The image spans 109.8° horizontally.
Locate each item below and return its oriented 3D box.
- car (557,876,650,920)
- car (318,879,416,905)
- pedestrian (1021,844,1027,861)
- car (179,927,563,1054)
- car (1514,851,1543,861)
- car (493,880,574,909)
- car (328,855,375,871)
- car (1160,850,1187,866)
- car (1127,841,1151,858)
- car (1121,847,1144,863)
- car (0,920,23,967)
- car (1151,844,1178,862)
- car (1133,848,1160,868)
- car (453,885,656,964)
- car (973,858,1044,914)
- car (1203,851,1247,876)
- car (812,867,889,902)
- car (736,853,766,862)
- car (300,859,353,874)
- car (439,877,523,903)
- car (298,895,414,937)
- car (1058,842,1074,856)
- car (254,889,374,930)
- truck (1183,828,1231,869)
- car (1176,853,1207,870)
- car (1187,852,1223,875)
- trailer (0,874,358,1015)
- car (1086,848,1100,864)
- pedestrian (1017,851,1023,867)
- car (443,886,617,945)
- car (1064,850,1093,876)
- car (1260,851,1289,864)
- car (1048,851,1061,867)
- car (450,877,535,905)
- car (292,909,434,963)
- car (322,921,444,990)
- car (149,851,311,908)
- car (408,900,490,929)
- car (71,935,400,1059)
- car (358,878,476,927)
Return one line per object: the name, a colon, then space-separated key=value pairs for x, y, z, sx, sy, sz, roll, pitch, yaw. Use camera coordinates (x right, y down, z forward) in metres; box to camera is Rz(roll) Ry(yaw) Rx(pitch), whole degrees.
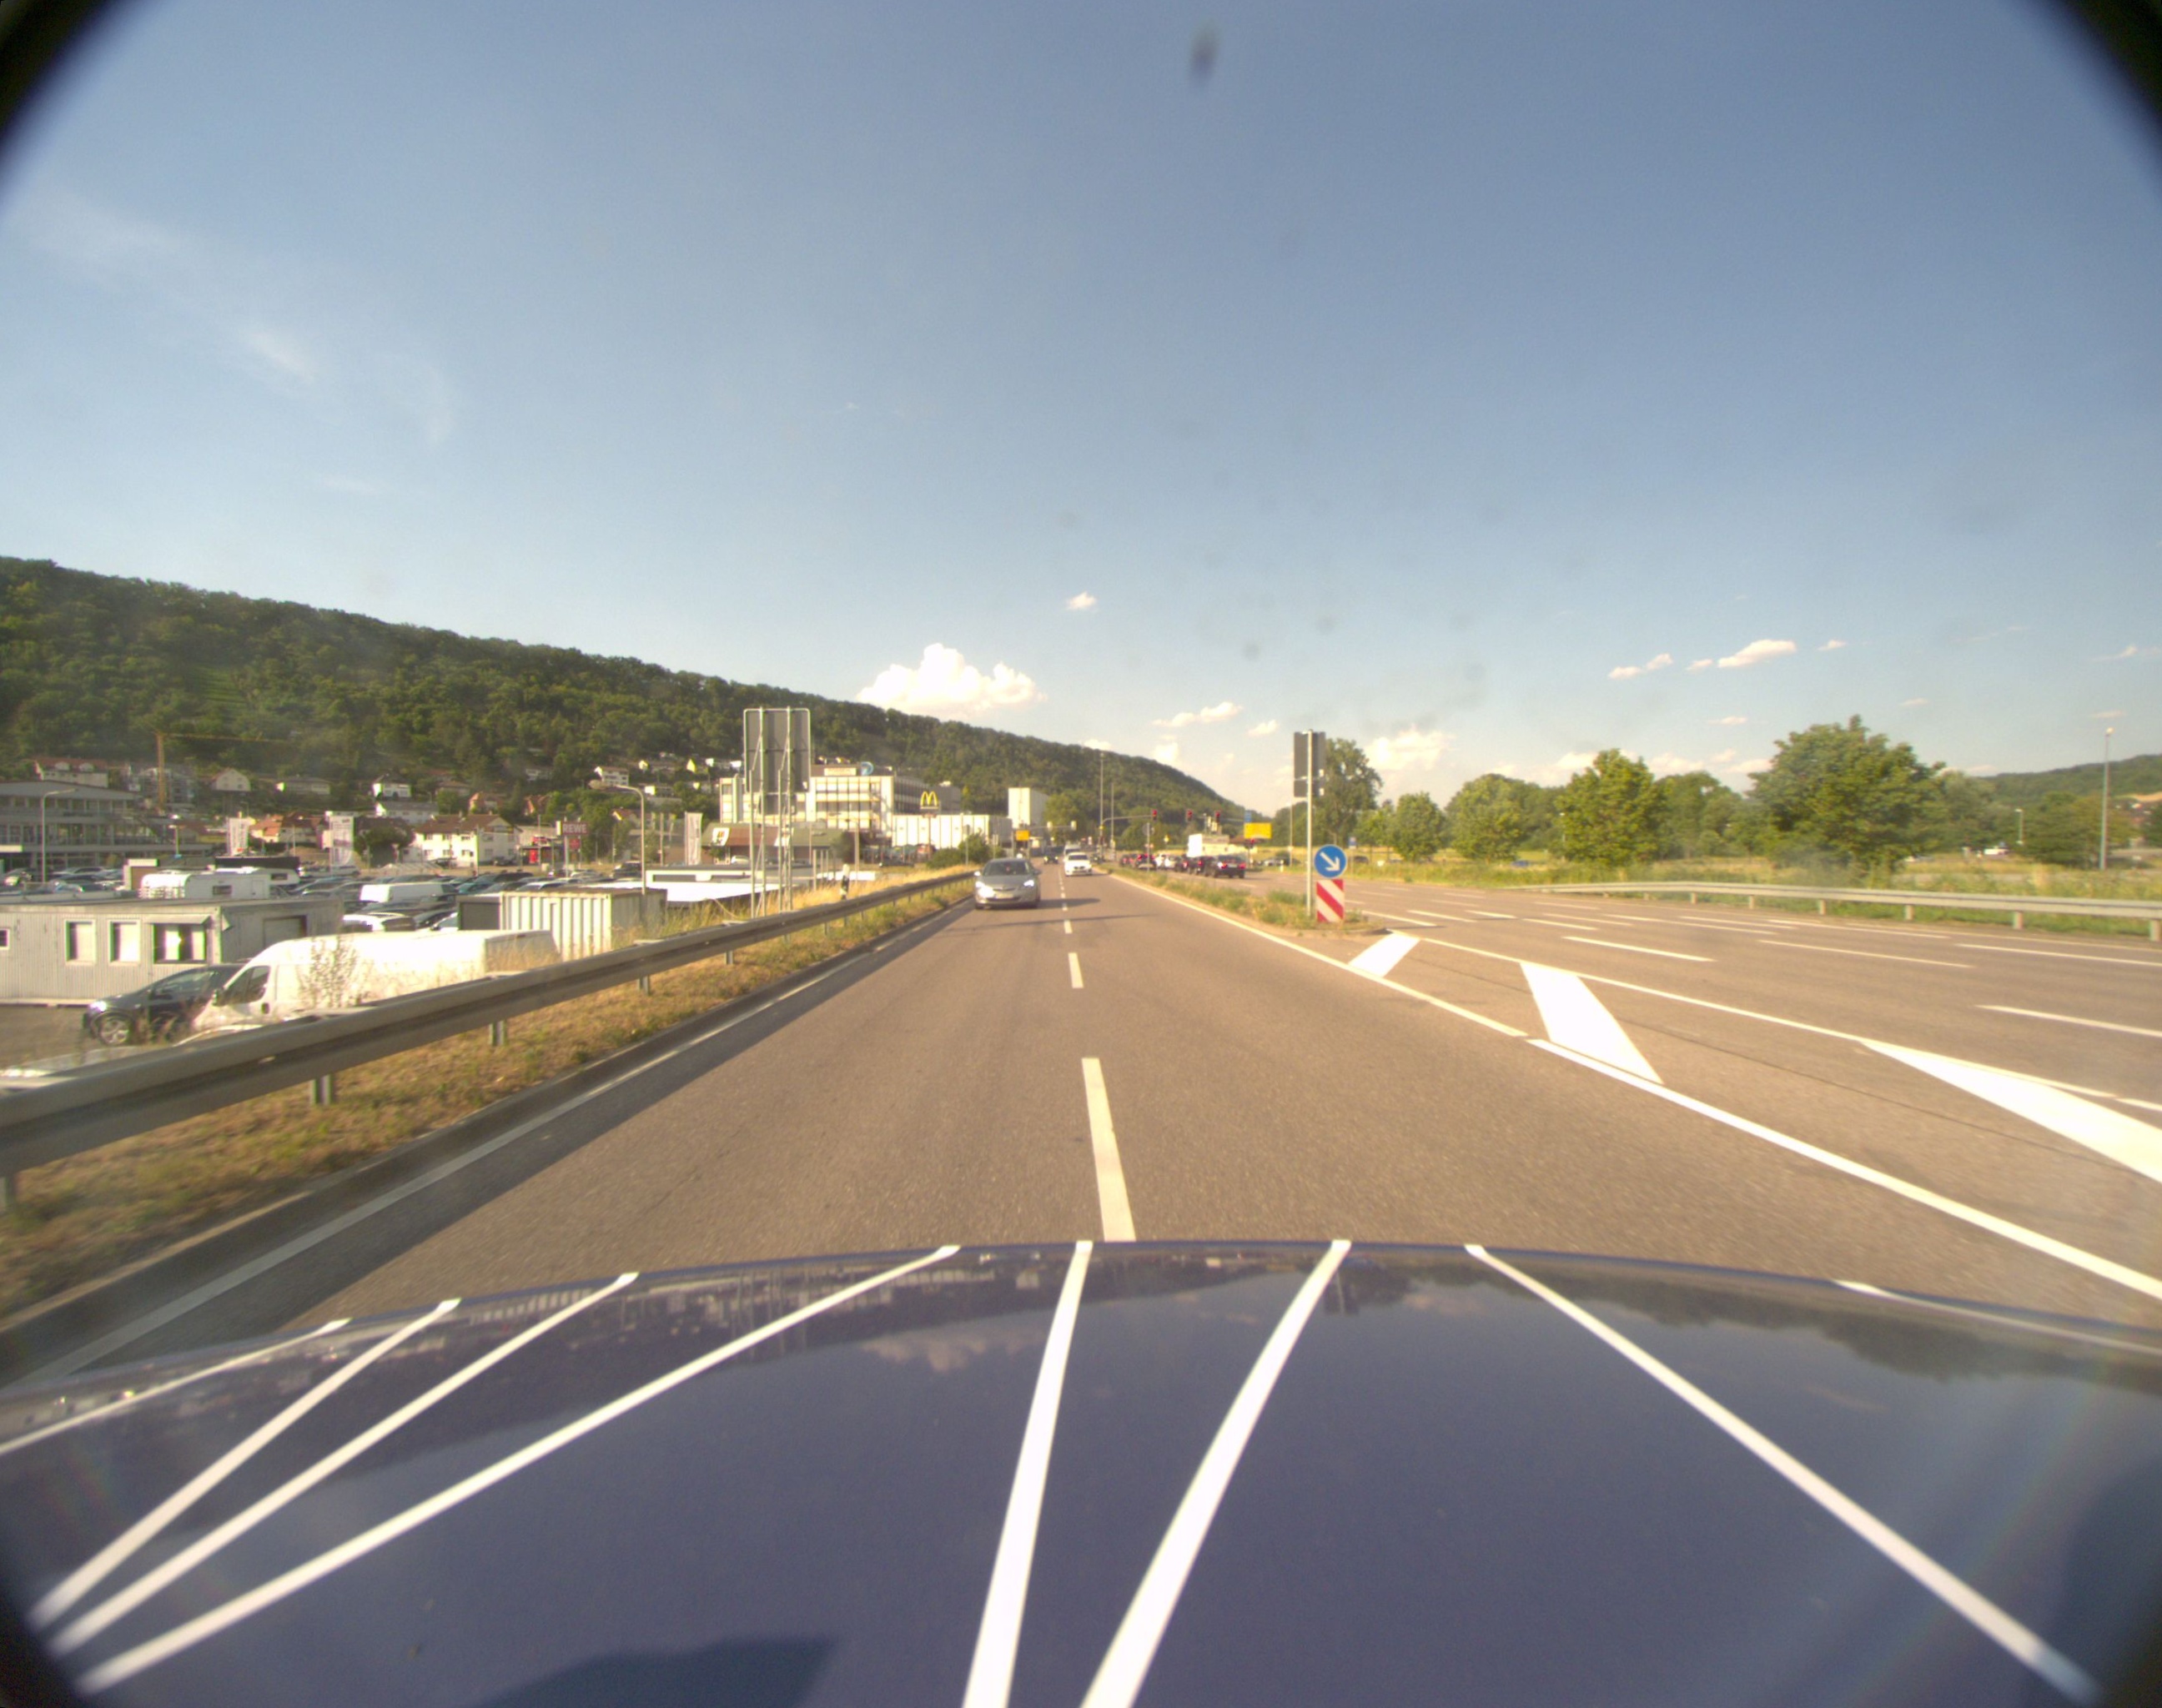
car: x=-26.139 y=2.363 z=41.811 sx=1.759 sy=1.941 sz=4.827 roll=-2 pitch=2 yaw=3
car: x=-48.927 y=2.574 z=52.150 sx=1.756 sy=1.452 sz=4.487 roll=-1 pitch=2 yaw=28
pedestrian: x=-6.125 y=-0.141 z=82.269 sx=0.620 sy=1.872 sz=0.861 roll=0 pitch=2 yaw=-2
car: x=-14.135 y=2.686 z=15.370 sx=5.895 sy=2.002 sz=2.000 roll=-2 pitch=2 yaw=2
car: x=63.078 y=0.280 z=107.175 sx=3.422 sy=1.325 sz=1.379 roll=-2 pitch=2 yaw=-7
car: x=-36.889 y=2.696 z=51.389 sx=1.759 sy=1.557 sz=4.827 roll=-2 pitch=2 yaw=3
car: x=-90.091 y=1.095 z=93.899 sx=1.791 sy=1.646 sz=3.998 roll=-2 pitch=2 yaw=-1
car: x=8.599 y=0.343 z=70.998 sx=1.706 sy=1.397 sz=5.079 roll=0 pitch=1 yaw=-2
car: x=5.240 y=-0.378 z=69.288 sx=1.785 sy=1.529 sz=4.571 roll=0 pitch=-1 yaw=-1
car: x=5.076 y=0.099 z=75.531 sx=1.795 sy=1.458 sz=4.926 roll=0 pitch=1 yaw=-3
car: x=-38.210 y=3.216 z=25.386 sx=1.683 sy=1.561 sz=3.767 roll=-3 pitch=2 yaw=-26
car: x=8.443 y=-0.118 z=77.148 sx=1.999 sy=1.669 sz=4.805 roll=0 pitch=1 yaw=-2
car: x=5.381 y=0.314 z=62.915 sx=1.785 sy=1.511 sz=3.998 roll=1 pitch=2 yaw=-1
car: x=-13.900 y=1.827 z=20.240 sx=3.996 sy=1.740 sz=1.901 roll=-2 pitch=2 yaw=1
car: x=-2.072 y=0.872 z=22.649 sx=1.691 sy=1.383 sz=3.882 roll=-1 pitch=2 yaw=0
car: x=8.996 y=0.573 z=47.891 sx=1.720 sy=1.455 sz=4.725 roll=1 pitch=0 yaw=-1
car: x=-13.821 y=1.824 z=45.727 sx=3.997 sy=1.806 sz=1.834 roll=-2 pitch=2 yaw=1
car: x=-53.063 y=0.584 z=122.316 sx=3.997 sy=1.449 sz=1.860 roll=0 pitch=2 yaw=1
car: x=-88.252 y=1.475 z=88.955 sx=1.837 sy=1.554 sz=4.338 roll=0 pitch=1 yaw=-2
car: x=-43.418 y=2.575 z=55.110 sx=1.757 sy=1.557 sz=4.485 roll=-1 pitch=2 yaw=21
car: x=-36.097 y=3.047 z=38.010 sx=1.759 sy=1.631 sz=4.000 roll=-2 pitch=2 yaw=3
car: x=-1.632 y=-0.579 z=84.151 sx=1.691 sy=1.383 sz=3.882 roll=-1 pitch=2 yaw=0
car: x=-38.395 y=2.745 z=38.207 sx=1.759 sy=1.631 sz=4.000 roll=-2 pitch=2 yaw=3
truck: x=12.321 y=-0.630 z=75.361 sx=2.940 sy=3.669 sz=10.495 roll=2 pitch=2 yaw=0
car: x=9.153 y=0.582 z=63.048 sx=1.706 sy=1.276 sz=4.817 roll=1 pitch=0 yaw=-2
car: x=8.947 y=0.663 z=55.080 sx=1.707 sy=1.465 sz=4.243 roll=2 pitch=1 yaw=-2
trailer: x=-25.827 y=2.441 z=21.337 sx=7.897 sy=3.304 sz=3.358 roll=-2 pitch=2 yaw=4
car: x=1.764 y=0.283 z=115.513 sx=1.795 sy=2.156 sz=4.587 roll=0 pitch=2 yaw=-3
pedestrian: x=-6.880 y=0.593 z=85.106 sx=0.532 sy=1.740 sz=0.537 roll=3 pitch=2 yaw=4
car: x=-18.441 y=2.039 z=25.575 sx=4.332 sy=1.738 sz=2.132 roll=-2 pitch=-3 yaw=1
car: x=-0.153 y=0.574 z=52.643 sx=1.825 sy=1.552 sz=3.999 roll=-2 pitch=2 yaw=0
car: x=27.967 y=0.486 z=109.956 sx=3.702 sy=1.609 sz=1.589 roll=-3 pitch=2 yaw=-16
car: x=-3.804 y=0.674 z=109.019 sx=1.795 sy=2.156 sz=4.587 roll=0 pitch=2 yaw=-3
car: x=-41.433 y=2.563 z=53.654 sx=1.757 sy=1.557 sz=4.484 roll=-2 pitch=2 yaw=16
car: x=-27.400 y=3.116 z=29.060 sx=3.675 sy=1.726 sz=1.893 roll=-2 pitch=2 yaw=5
car: x=-23.110 y=3.302 z=25.335 sx=1.729 sy=1.638 sz=3.768 roll=-3 pitch=2 yaw=-23
car: x=-43.098 y=1.201 z=38.747 sx=1.759 sy=2.535 sz=5.469 roll=-2 pitch=2 yaw=3
car: x=-30.893 y=2.935 z=37.224 sx=1.273 sy=1.118 sz=2.768 roll=-1 pitch=2 yaw=22
car: x=-19.058 y=3.158 z=17.460 sx=4.576 sy=2.002 sz=1.897 roll=-3 pitch=2 yaw=-20
car: x=-37.618 y=2.684 z=43.304 sx=1.759 sy=2.234 sz=5.297 roll=-2 pitch=2 yaw=3
